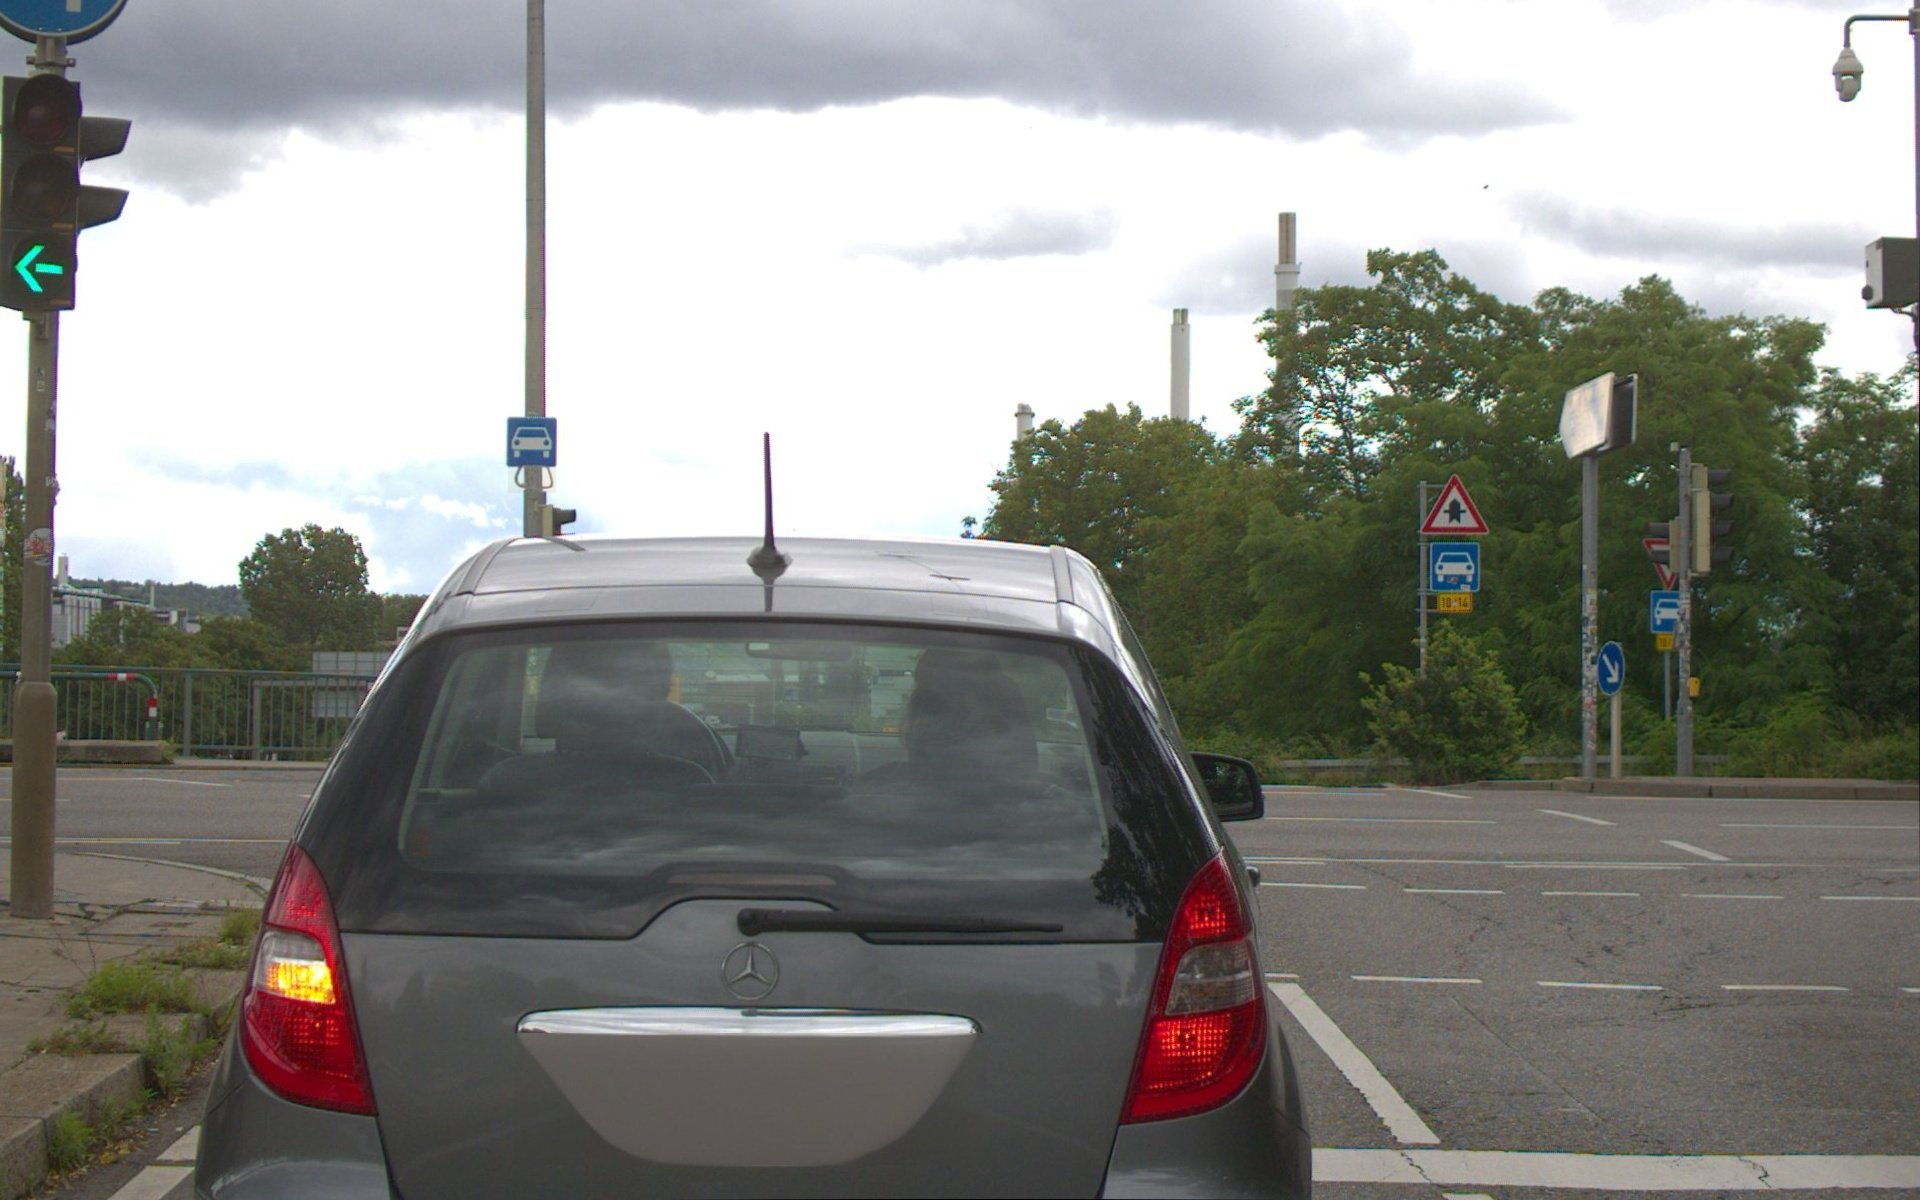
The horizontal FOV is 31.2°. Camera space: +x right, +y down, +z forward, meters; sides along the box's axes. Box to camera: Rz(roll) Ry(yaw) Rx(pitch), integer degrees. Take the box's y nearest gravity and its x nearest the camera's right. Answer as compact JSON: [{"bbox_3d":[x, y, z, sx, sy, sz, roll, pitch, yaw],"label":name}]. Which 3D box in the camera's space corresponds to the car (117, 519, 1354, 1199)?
[{"bbox_3d":[-0.336,0.652,6.639,1.739,1.538,3.541,1,0,0],"label":"car"}]
